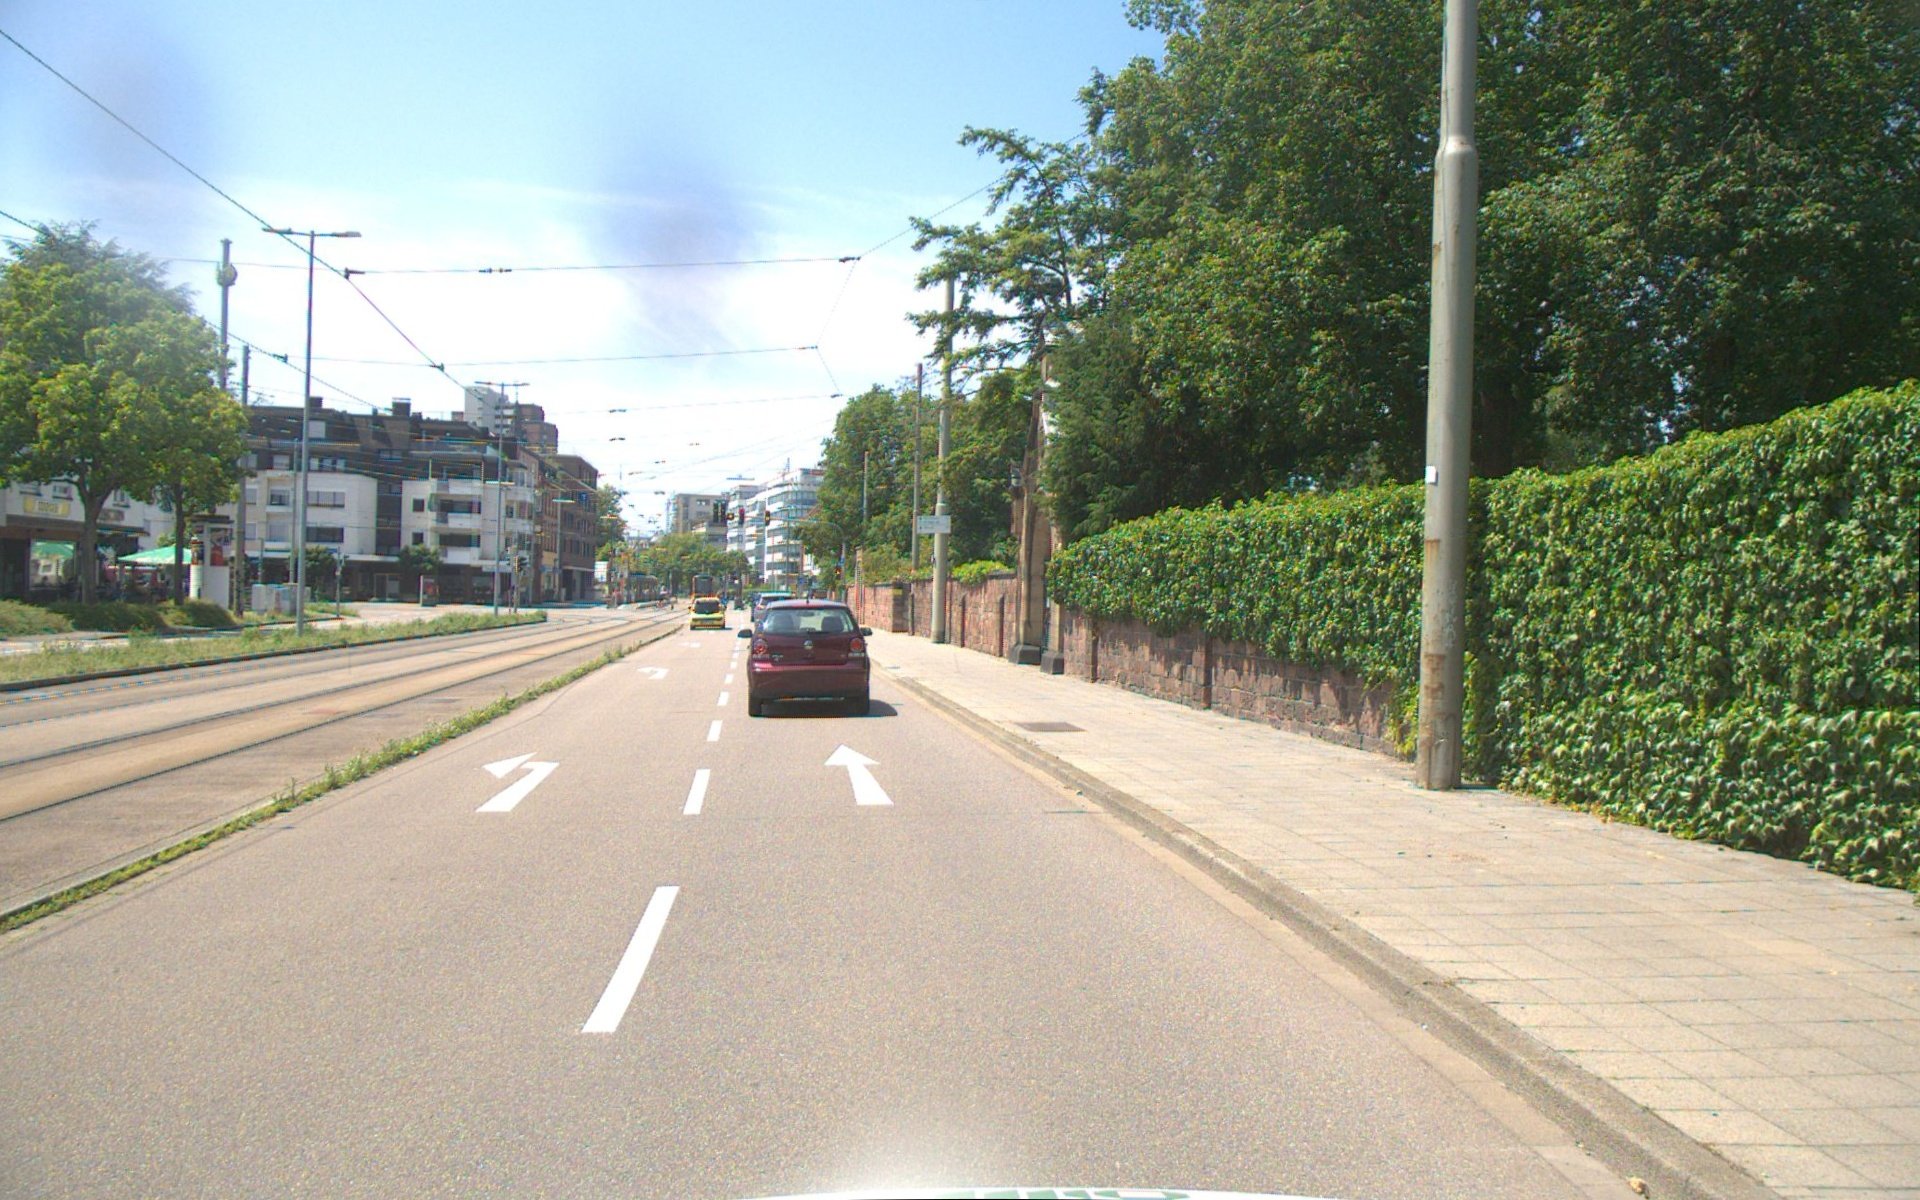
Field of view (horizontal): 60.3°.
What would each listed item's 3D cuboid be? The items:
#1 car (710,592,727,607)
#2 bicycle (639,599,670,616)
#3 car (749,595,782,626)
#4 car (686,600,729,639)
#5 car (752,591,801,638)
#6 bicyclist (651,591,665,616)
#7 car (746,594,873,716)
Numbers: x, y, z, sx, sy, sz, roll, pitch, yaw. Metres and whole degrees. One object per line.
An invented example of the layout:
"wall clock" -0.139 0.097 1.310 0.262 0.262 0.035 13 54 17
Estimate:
"car" -20.916 -0.042 143.041 1.328 1.274 2.968 2 0 -7
"bicycle" -25.752 0.615 139.574 2.473 1.444 0.633 1 0 -21
"car" -10.944 0.579 93.348 1.740 1.659 3.995 2 0 -6
"car" -11.769 0.884 77.326 1.761 1.712 3.994 2 0 -7
"car" -7.190 0.526 64.689 1.761 1.712 3.994 2 0 -7
"bicyclist" -25.510 0.279 139.679 0.942 2.128 0.848 1 0 -20
"car" -2.101 0.688 22.629 1.579 1.524 3.994 0 0 -7
